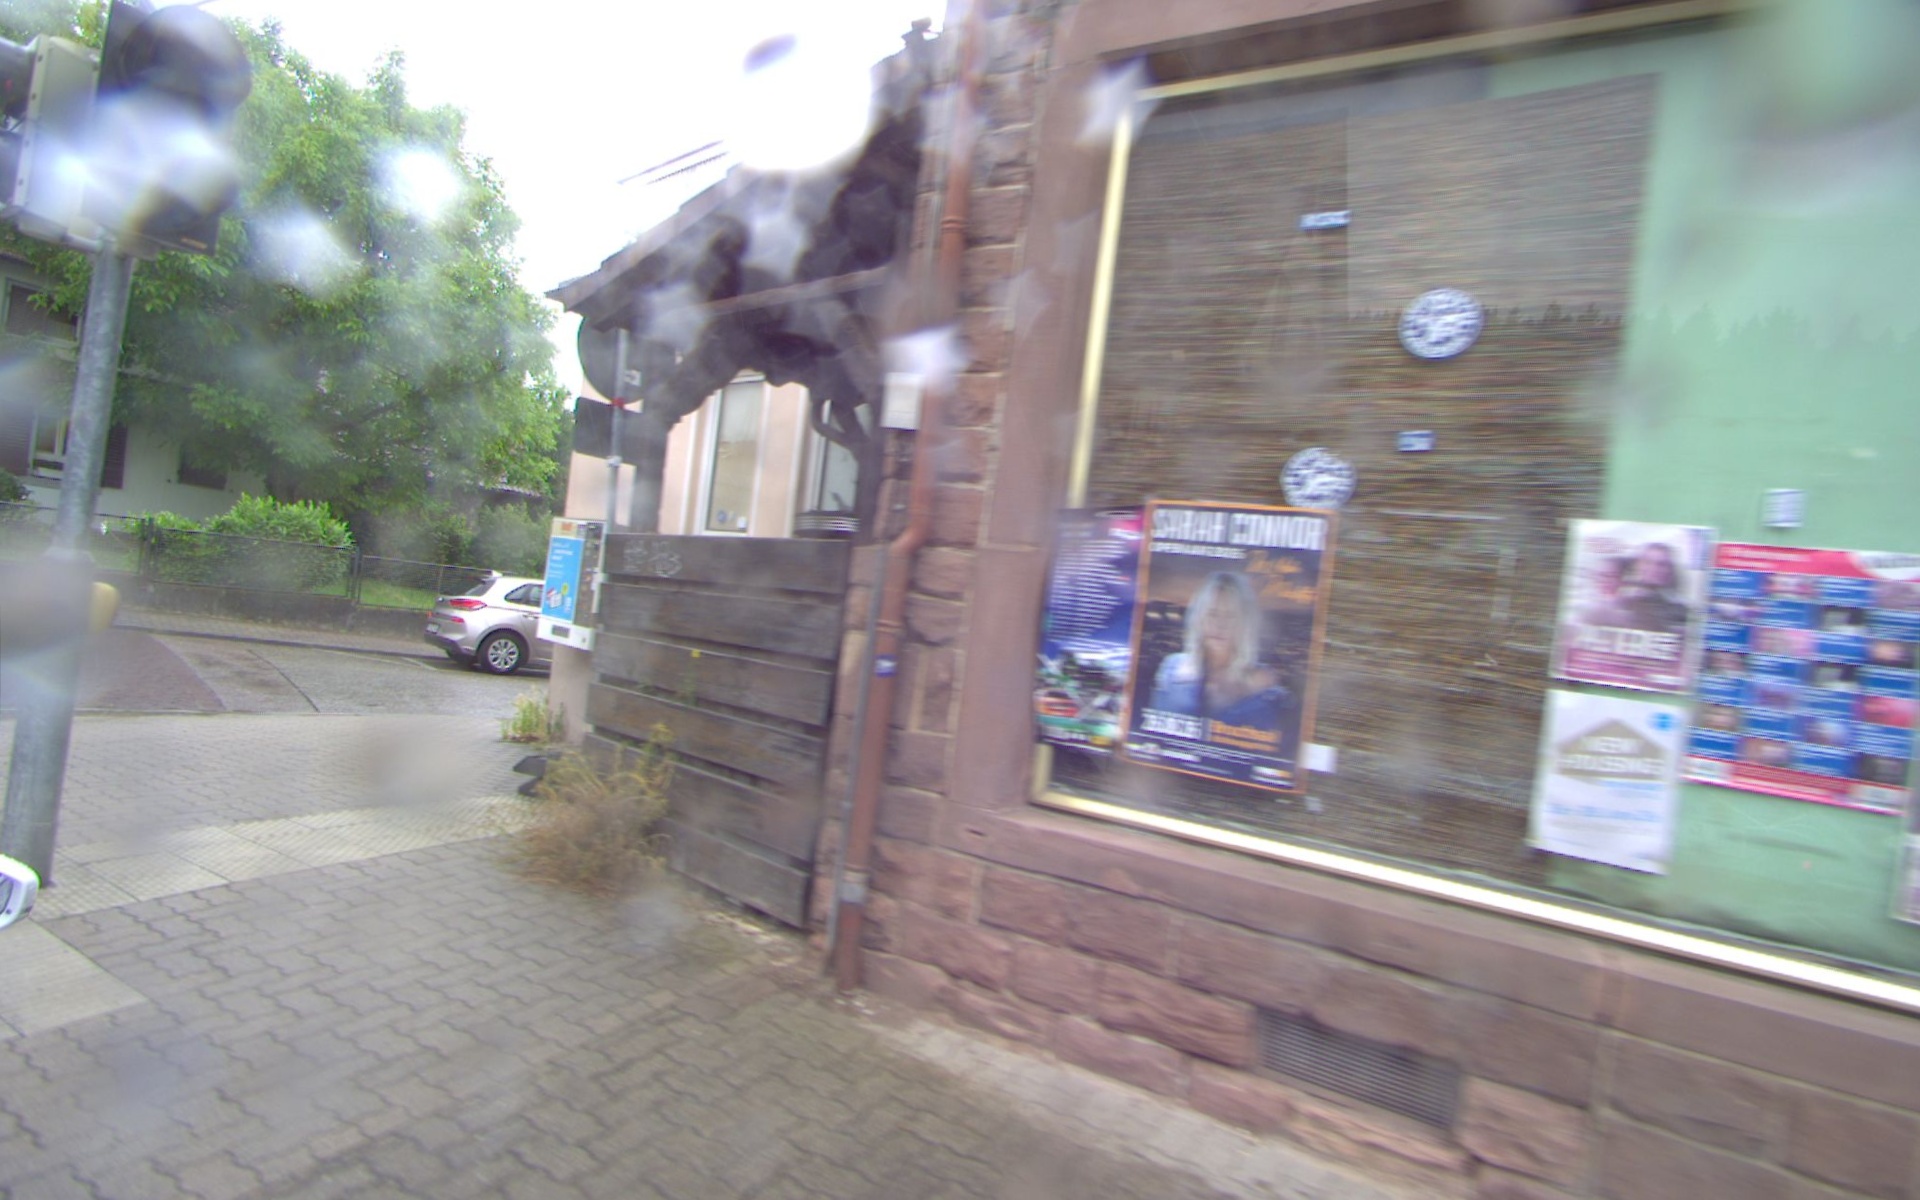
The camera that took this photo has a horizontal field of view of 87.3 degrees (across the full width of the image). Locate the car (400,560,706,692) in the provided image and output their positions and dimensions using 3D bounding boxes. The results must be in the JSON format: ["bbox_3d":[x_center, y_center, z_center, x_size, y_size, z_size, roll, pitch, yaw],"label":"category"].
[{"bbox_3d":[-6.292,0.453,15.849,3.980,1.482,1.762,11,-4,-44],"label":"car"}]
